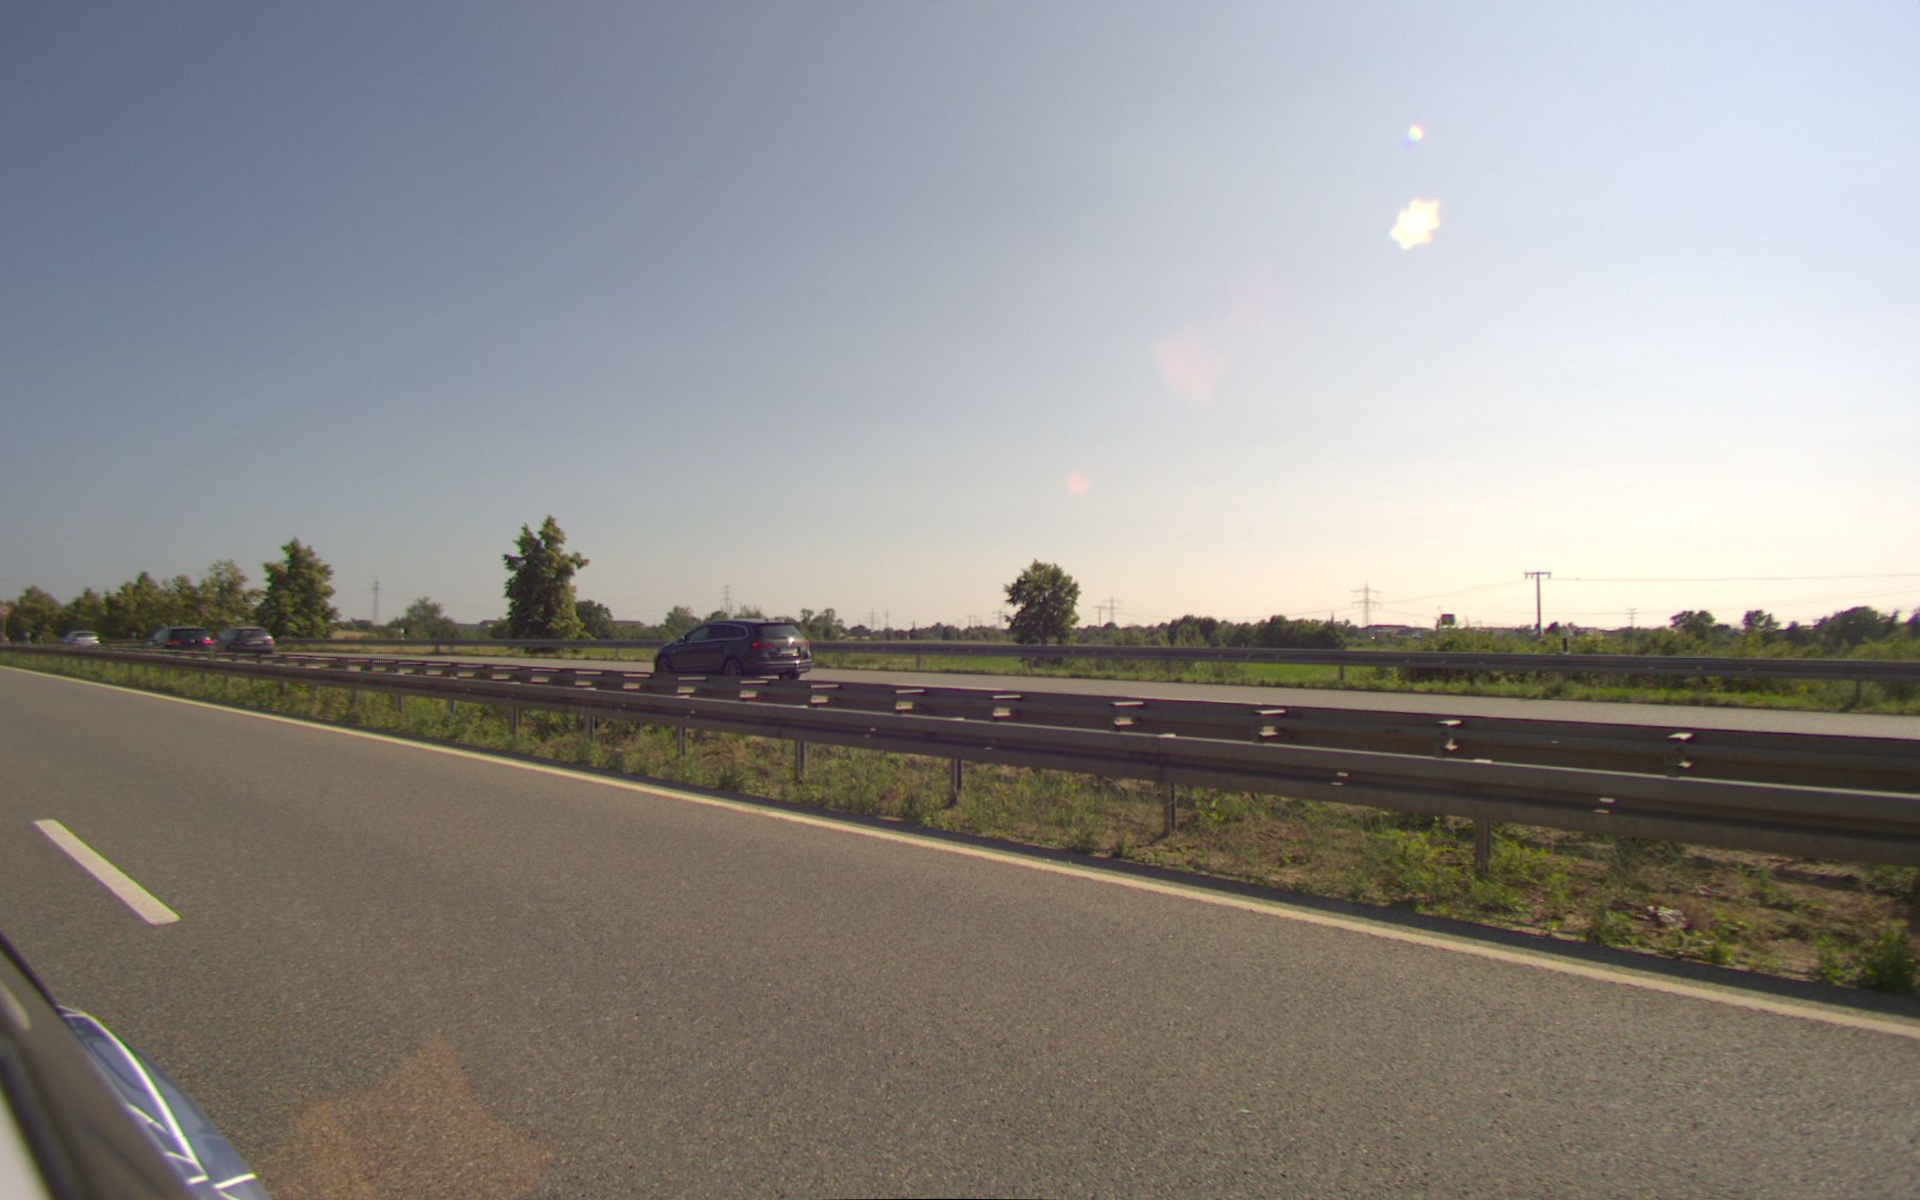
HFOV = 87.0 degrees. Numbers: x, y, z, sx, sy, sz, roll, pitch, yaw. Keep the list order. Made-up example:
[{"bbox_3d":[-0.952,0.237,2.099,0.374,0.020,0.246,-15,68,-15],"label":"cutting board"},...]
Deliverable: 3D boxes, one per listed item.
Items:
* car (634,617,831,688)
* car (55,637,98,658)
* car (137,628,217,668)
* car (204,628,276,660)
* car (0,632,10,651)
[{"bbox_3d":[-5.414,1.184,23.680,4.930,1.445,1.849,-2,0,40],"label":"car"},{"bbox_3d":[-65.206,3.462,74.658,4.413,1.406,1.802,-2,0,41],"label":"car"},{"bbox_3d":[-32.107,1.942,41.468,4.321,1.484,1.796,-2,-1,41],"label":"car"},{"bbox_3d":[-33.885,2.054,47.576,4.319,1.461,1.696,-2,-2,40],"label":"car"},{"bbox_3d":[-78.533,3.400,82.120,4.413,1.481,1.695,-2,0,41],"label":"car"}]
